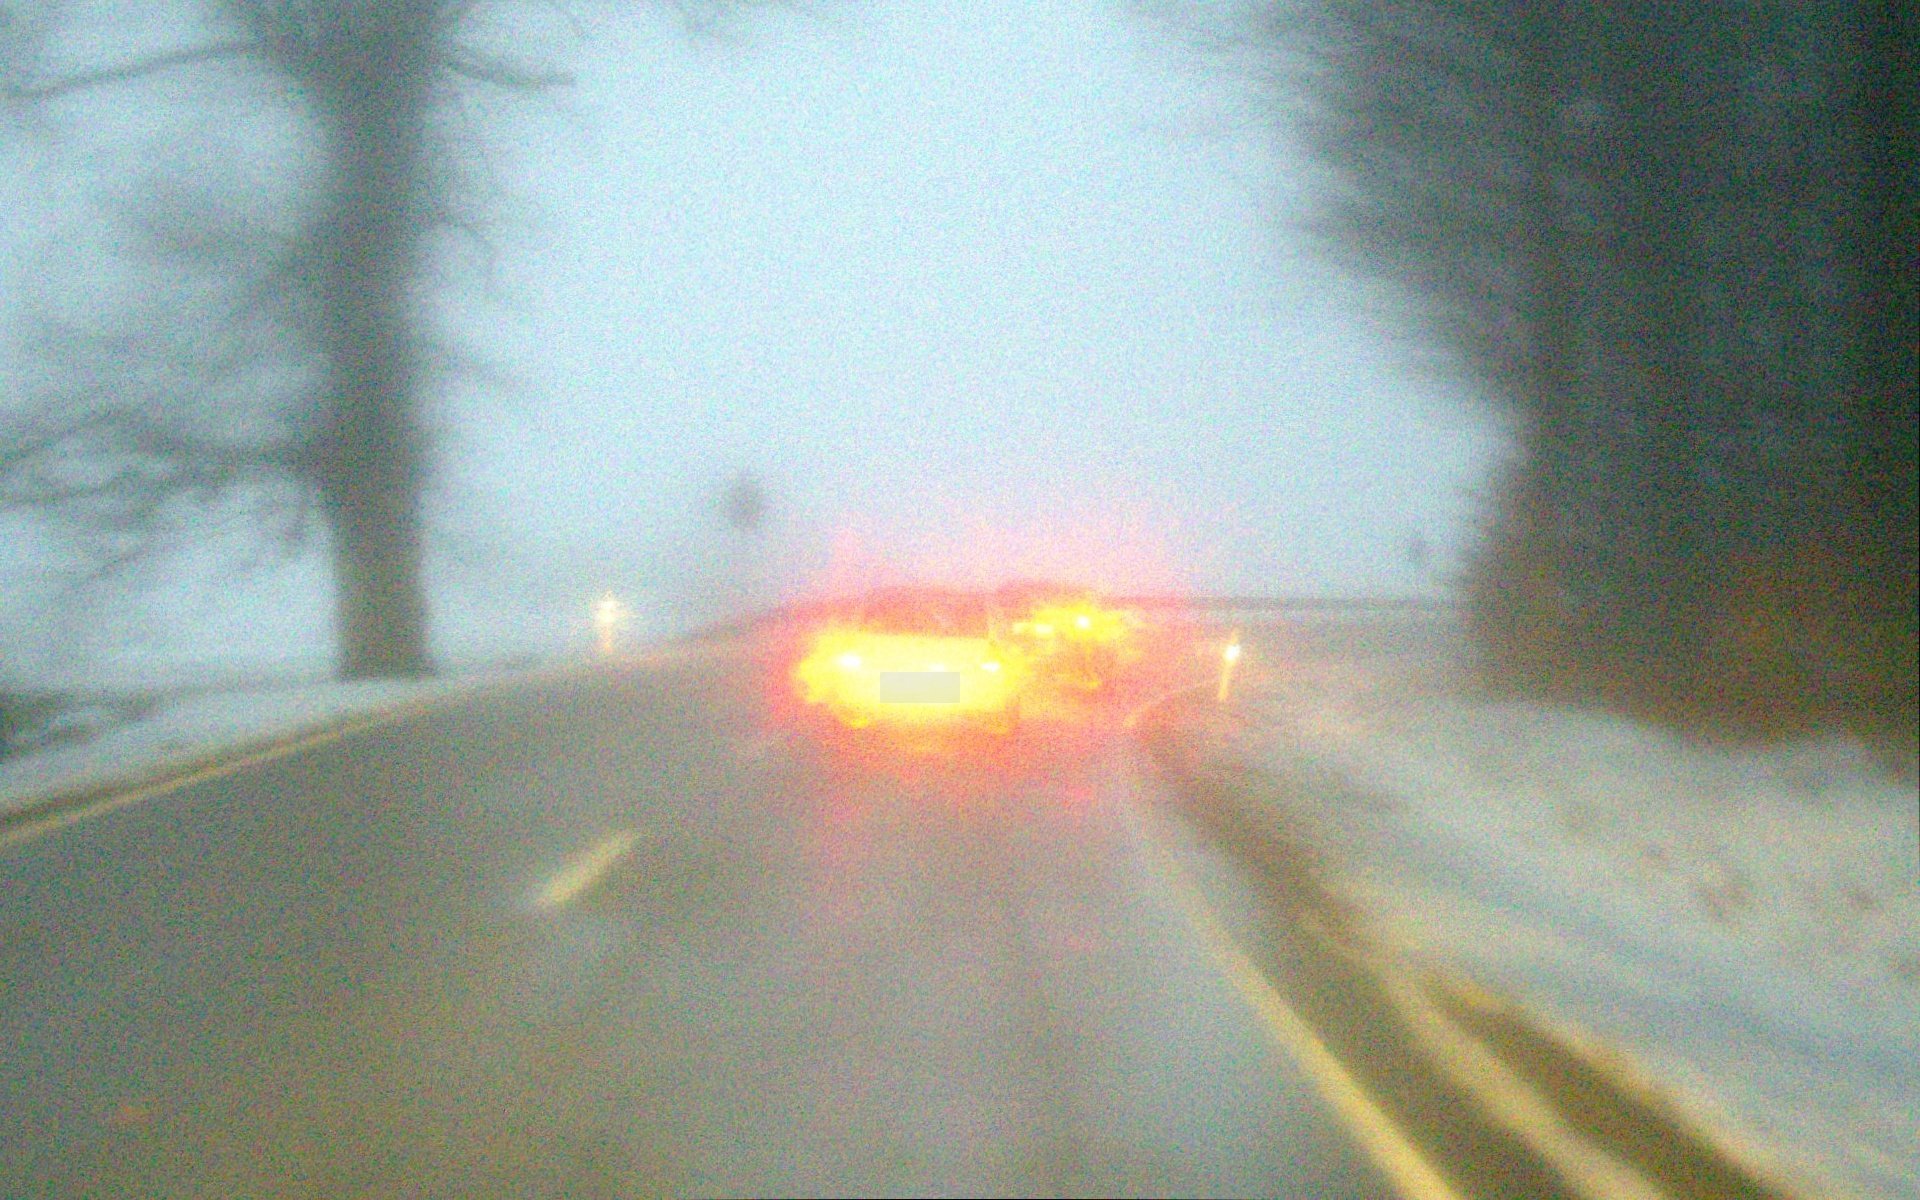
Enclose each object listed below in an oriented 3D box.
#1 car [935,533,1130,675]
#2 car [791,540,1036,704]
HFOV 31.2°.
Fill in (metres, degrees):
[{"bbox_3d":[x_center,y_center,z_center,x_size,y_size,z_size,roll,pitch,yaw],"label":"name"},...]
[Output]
[{"bbox_3d":[0.947,0.017,47.092,1.993,1.776,4.001,2,1,-8],"label":"car"},{"bbox_3d":[-0.505,0.163,32.205,1.945,1.376,4.001,0,2,-6],"label":"car"}]
